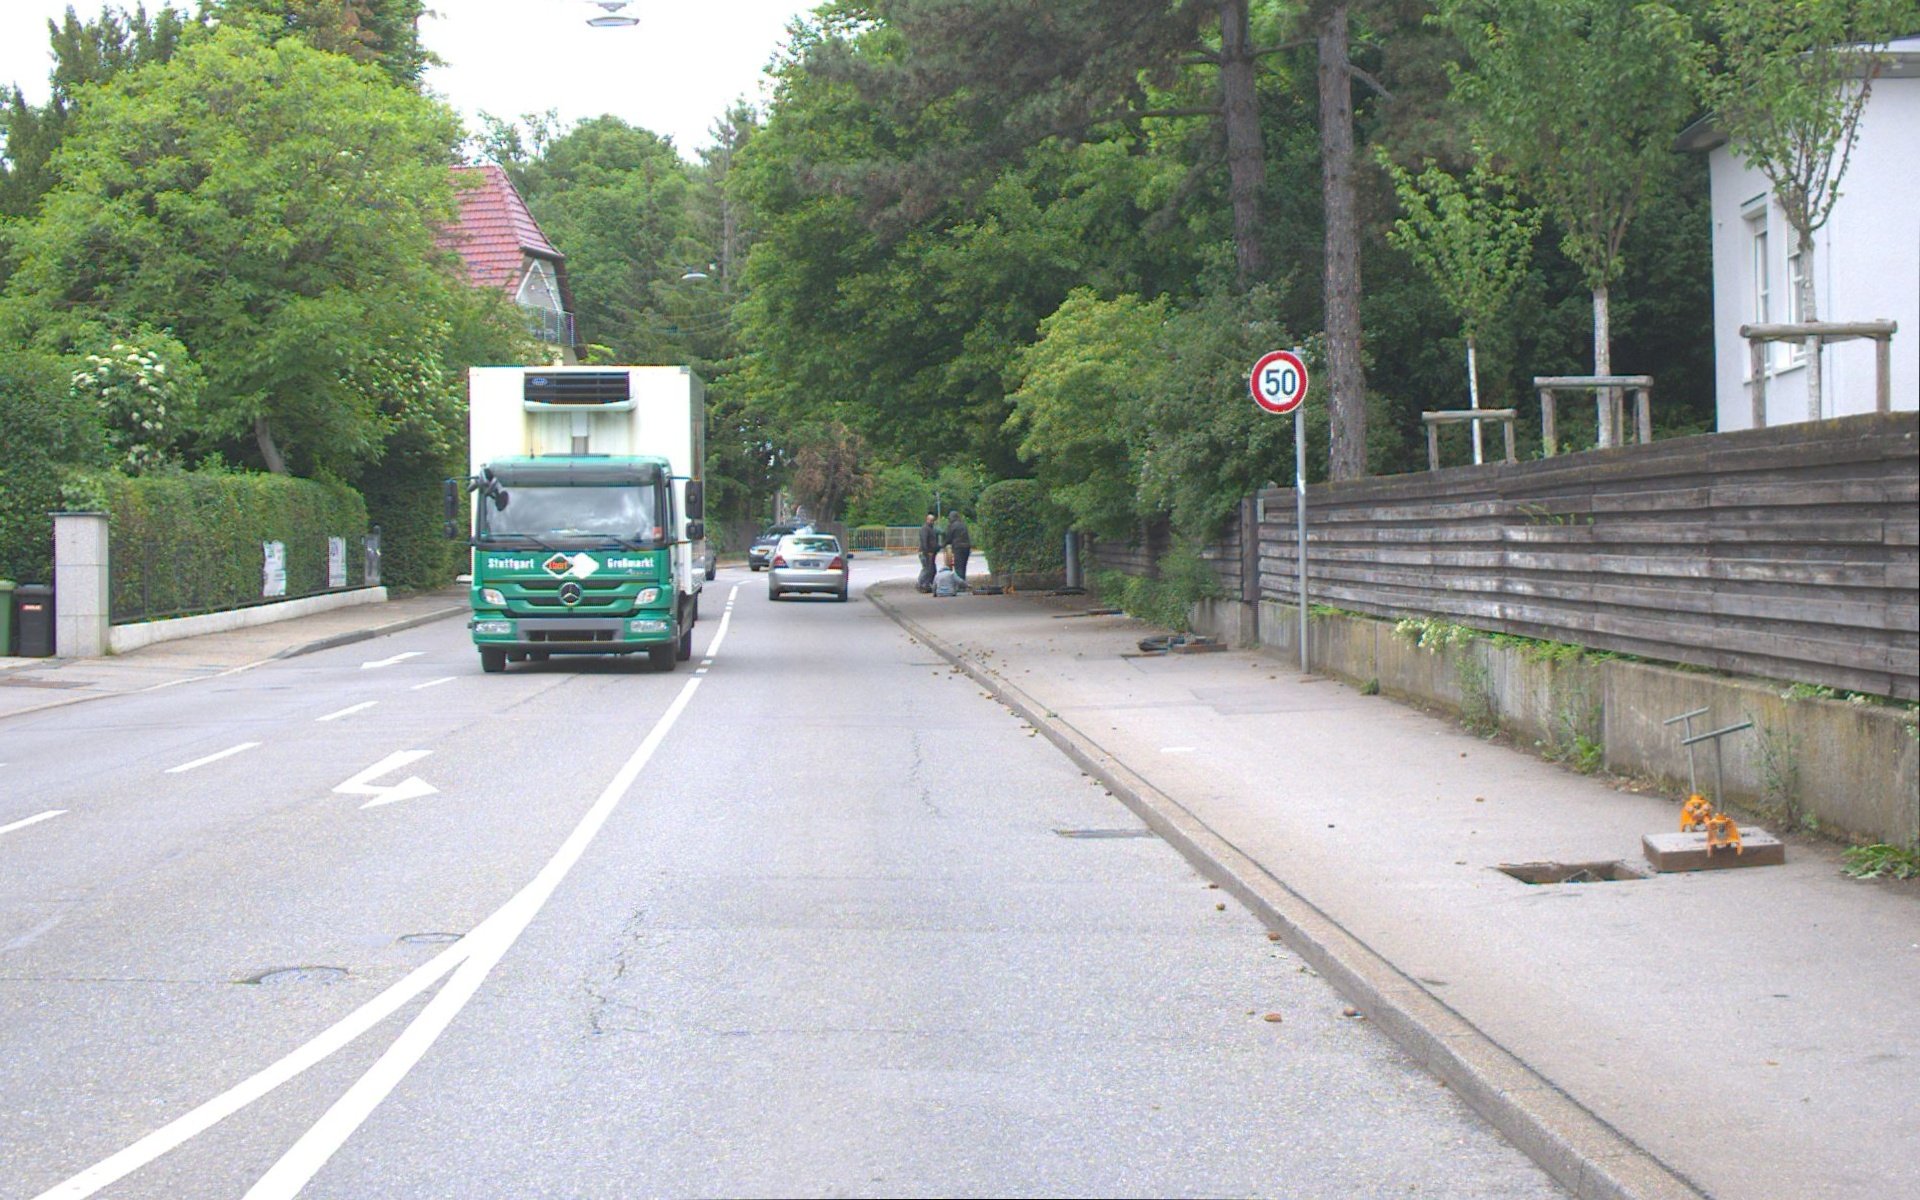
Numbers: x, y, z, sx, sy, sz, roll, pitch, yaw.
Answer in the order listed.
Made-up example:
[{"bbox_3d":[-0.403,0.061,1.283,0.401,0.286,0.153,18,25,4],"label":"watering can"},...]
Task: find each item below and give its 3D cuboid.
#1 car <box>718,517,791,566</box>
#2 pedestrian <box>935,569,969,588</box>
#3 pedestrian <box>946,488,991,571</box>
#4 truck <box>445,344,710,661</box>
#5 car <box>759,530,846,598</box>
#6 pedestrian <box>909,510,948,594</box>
[{"bbox_3d":[-6.343,-1.831,106.589,1.681,1.466,4.017,0,1,5],"label":"car"},{"bbox_3d":[-0.174,-0.456,72.258,0.672,0.392,0.741,-1,1,-3],"label":"pedestrian"},{"bbox_3d":[0.193,-1.541,74.859,0.689,1.801,0.673,-2,2,-44],"label":"pedestrian"},{"bbox_3d":[-4.475,-1.086,41.555,2.777,3.449,7.494,-1,0,-3],"label":"truck"},{"bbox_3d":[-3.434,-0.759,74.387,1.797,1.410,4.336,-1,0,-4],"label":"car"},{"bbox_3d":[-0.688,-1.042,74.499,0.807,1.801,0.741,-1,1,-3],"label":"pedestrian"}]
